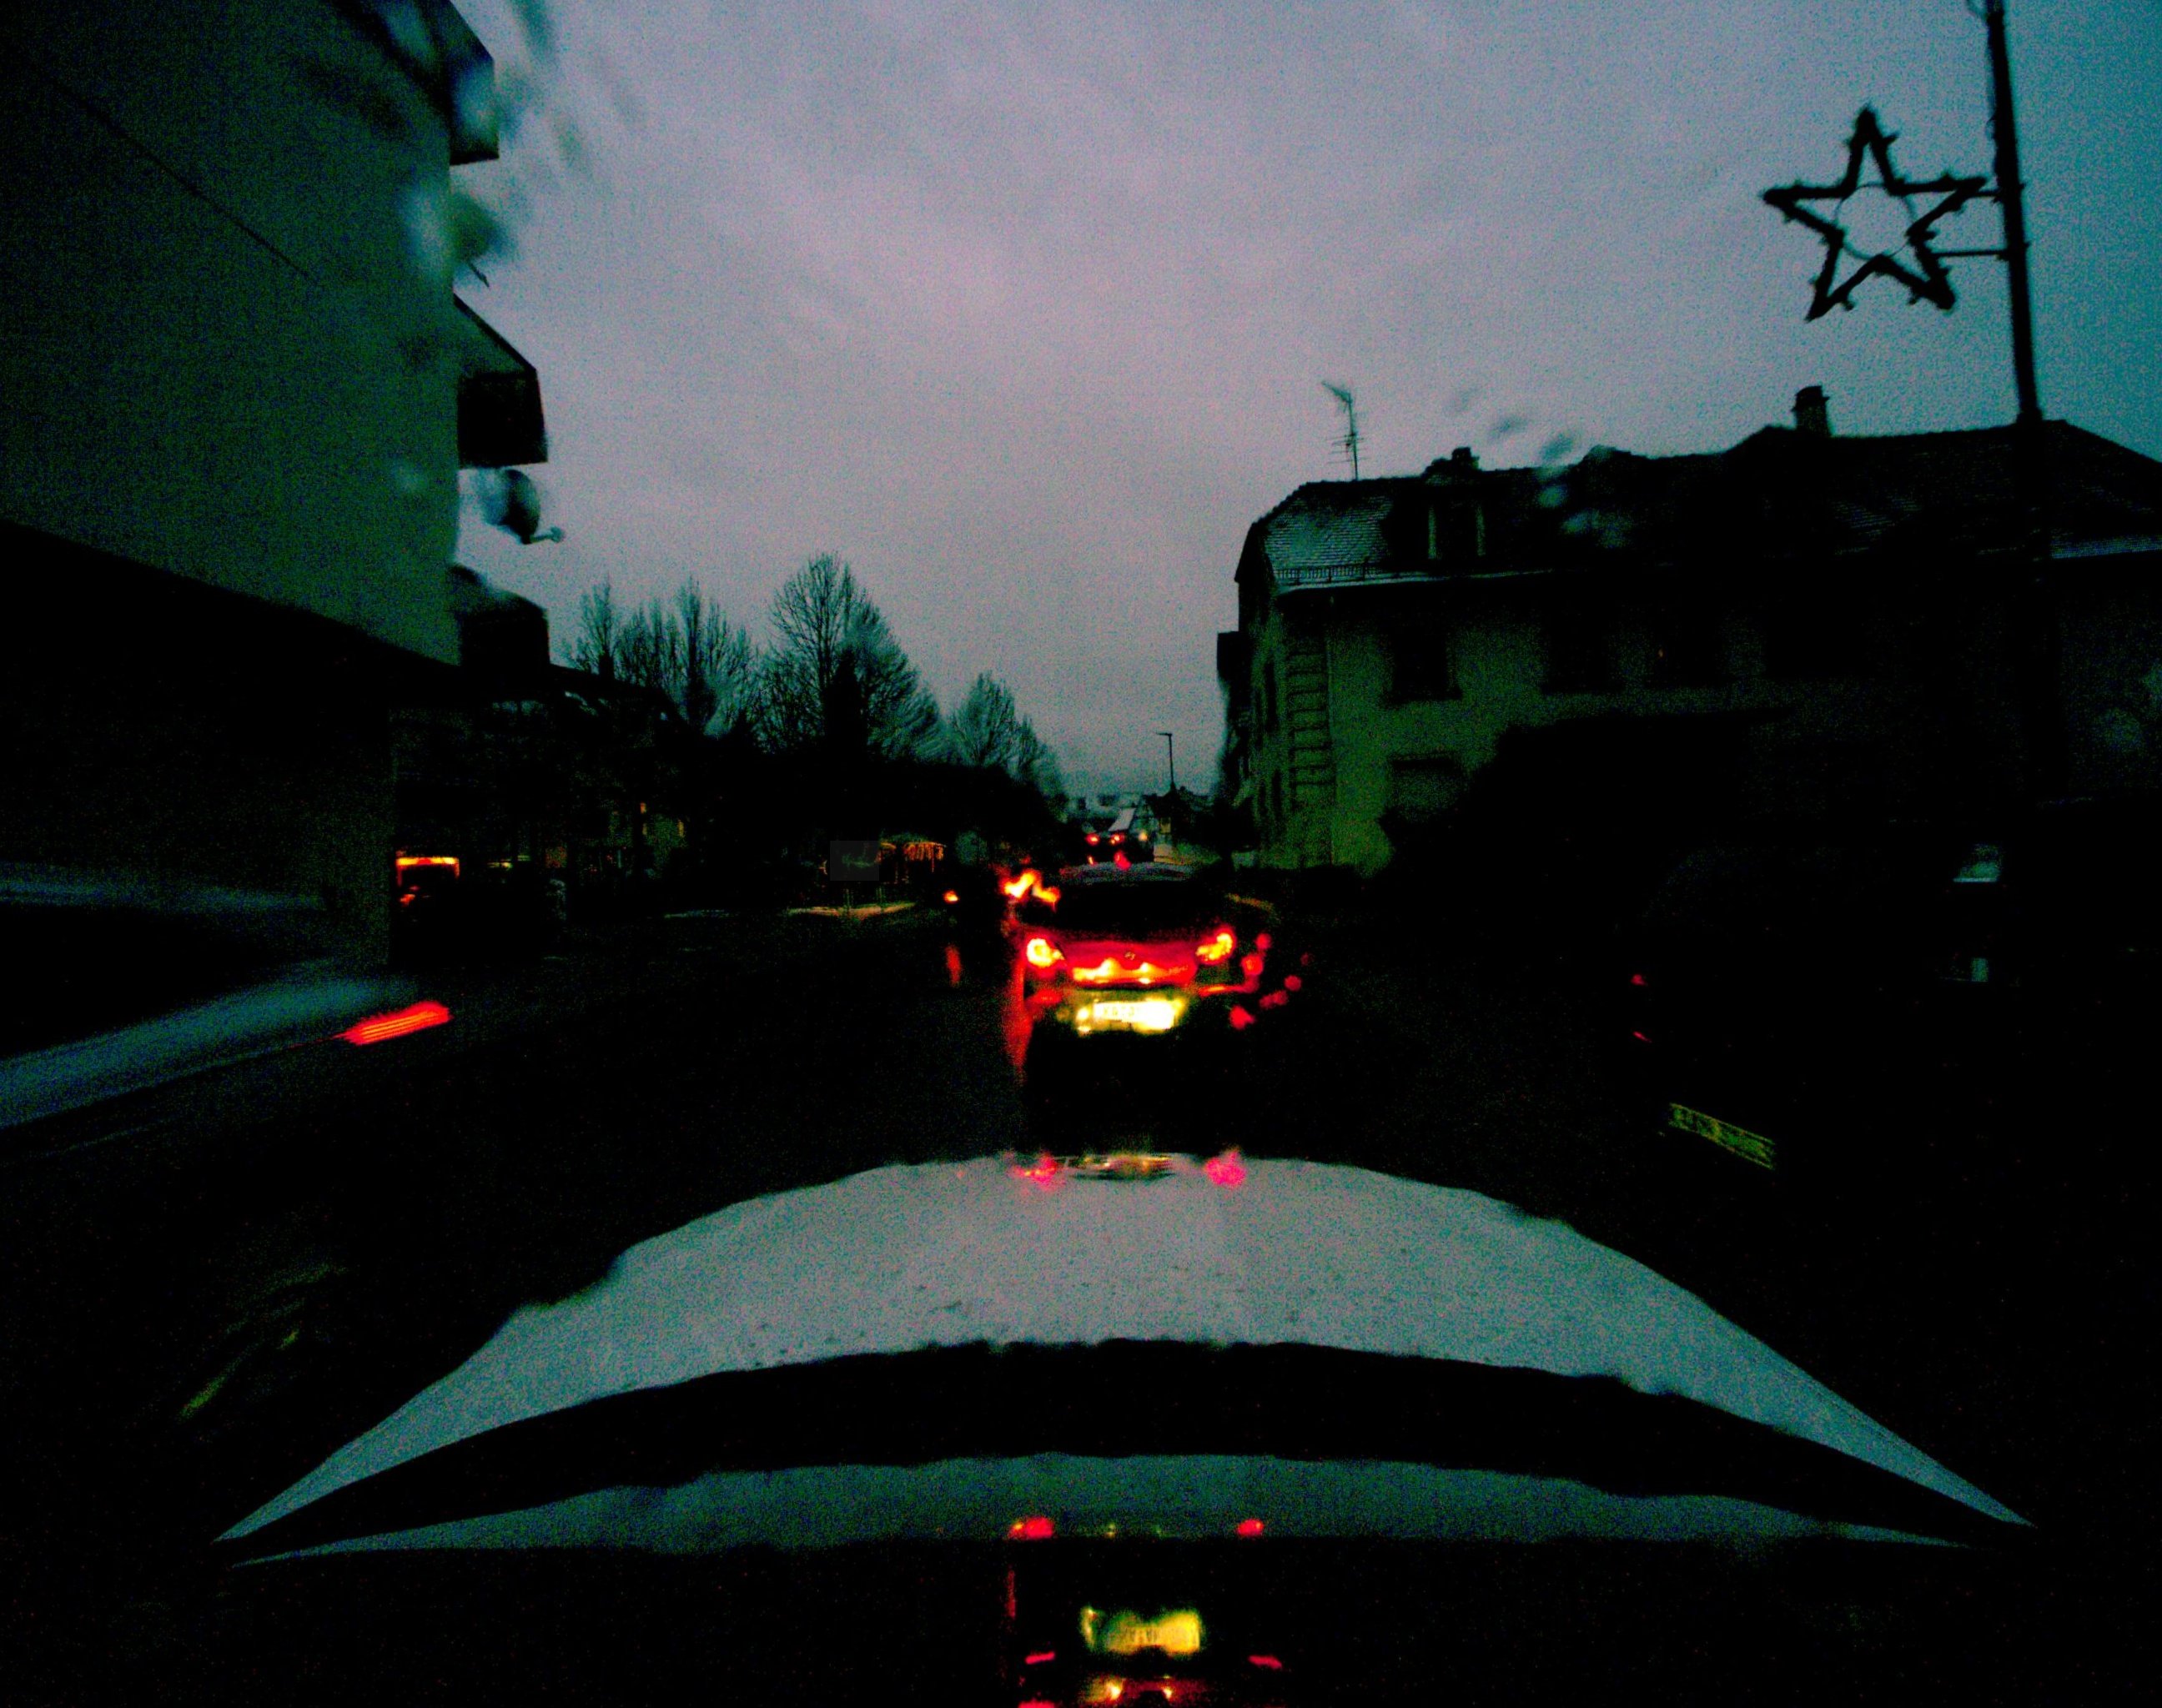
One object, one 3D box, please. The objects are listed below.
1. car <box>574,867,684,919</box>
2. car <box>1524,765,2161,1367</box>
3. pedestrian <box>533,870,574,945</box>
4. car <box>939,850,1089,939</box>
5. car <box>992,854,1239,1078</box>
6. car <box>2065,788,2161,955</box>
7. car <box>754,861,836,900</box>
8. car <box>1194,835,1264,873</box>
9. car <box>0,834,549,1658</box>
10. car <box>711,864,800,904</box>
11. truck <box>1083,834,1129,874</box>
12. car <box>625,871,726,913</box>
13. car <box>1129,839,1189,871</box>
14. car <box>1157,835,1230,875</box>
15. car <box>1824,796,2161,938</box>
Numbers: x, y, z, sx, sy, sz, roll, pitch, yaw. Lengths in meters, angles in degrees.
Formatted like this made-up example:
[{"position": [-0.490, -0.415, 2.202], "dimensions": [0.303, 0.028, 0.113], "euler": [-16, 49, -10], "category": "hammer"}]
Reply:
[{"position": [-18.734, 1.605, 33.763], "dimensions": [3.953, 1.988, 1.829], "euler": [-2, 0, 21], "category": "car"}, {"position": [4.110, 0.493, 3.165], "dimensions": [3.862, 1.579, 1.680], "euler": [-3, 0, -4], "category": "car"}, {"position": [-10.630, 1.057, 16.422], "dimensions": [0.653, 1.458, 0.643], "euler": [-1, 0, -35], "category": "pedestrian"}, {"position": [-1.379, 0.698, 15.615], "dimensions": [1.648, 1.481, 3.240], "euler": [-1, 0, -29], "category": "car"}, {"position": [0.288, 0.763, 7.184], "dimensions": [1.632, 1.481, 3.380], "euler": [-1, 0, 2], "category": "car"}, {"position": [12.126, 0.062, 7.353], "dimensions": [3.973, 1.570, 2.000], "euler": [-3, -1, 1], "category": "car"}, {"position": [-15.670, 1.454, 44.631], "dimensions": [3.953, 1.998, 1.829], "euler": [-2, 0, 21], "category": "car"}, {"position": [9.025, 0.028, 49.745], "dimensions": [4.073, 2.151, 1.918], "euler": [-2, 0, 8], "category": "car"}, {"position": [-3.002, 0.790, 1.054], "dimensions": [1.806, 1.596, 4.395], "euler": [-2, 0, -2], "category": "car"}, {"position": [-16.700, 1.541, 41.779], "dimensions": [3.953, 1.910, 1.829], "euler": [-2, 0, 21], "category": "car"}, {"position": [2.252, -0.007, 70.047], "dimensions": [2.999, 3.128, 8.017], "euler": [-1, 0, 8], "category": "truck"}, {"position": [-18.182, 1.703, 36.548], "dimensions": [3.953, 1.730, 1.829], "euler": [-2, 0, 21], "category": "car"}, {"position": [5.628, 0.068, 58.437], "dimensions": [4.073, 2.151, 1.918], "euler": [-2, 0, 8], "category": "car"}, {"position": [6.554, 0.082, 47.542], "dimensions": [4.073, 2.163, 1.918], "euler": [-2, 0, 8], "category": "car"}, {"position": [12.339, 0.116, 10.322], "dimensions": [3.971, 1.524, 1.938], "euler": [-3, -1, 2], "category": "car"}]
